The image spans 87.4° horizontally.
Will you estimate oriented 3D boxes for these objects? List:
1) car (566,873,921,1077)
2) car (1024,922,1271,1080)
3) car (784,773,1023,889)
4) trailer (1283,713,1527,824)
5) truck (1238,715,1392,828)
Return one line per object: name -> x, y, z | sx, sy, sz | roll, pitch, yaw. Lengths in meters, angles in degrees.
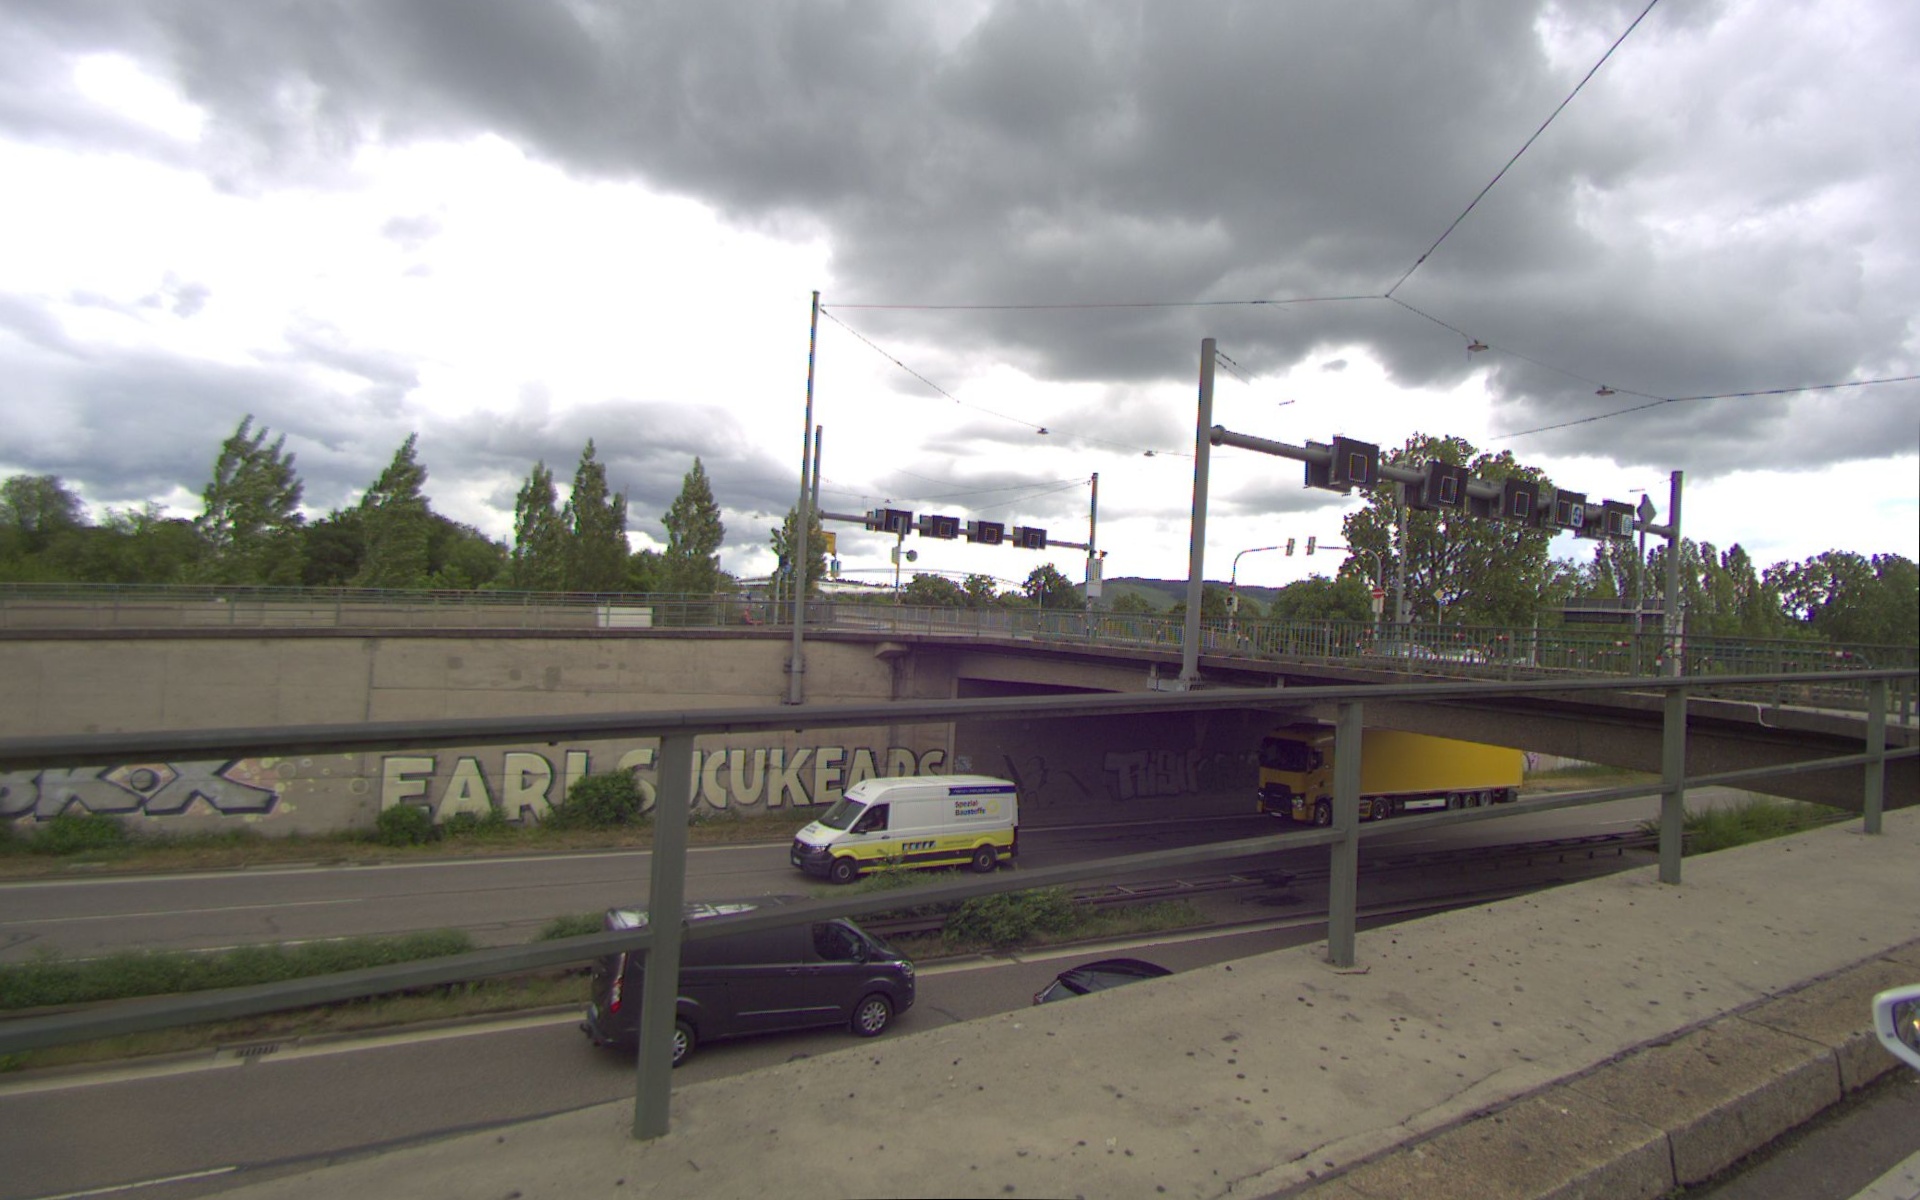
car -> -3.423, 5.846, 16.252 | 5.191, 2.040, 1.985 | 4, -2, -29
car -> 3.098, 6.420, 16.422 | 3.791, 1.492, 1.644 | 4, -2, -30
car -> -1.504, 6.469, 28.799 | 6.637, 2.661, 1.984 | 4, -5, -31
trailer -> 20.783, 7.567, 46.293 | 13.532, 4.317, 3.223 | 5, -3, -32
truck -> 15.126, 7.134, 42.704 | 5.739, 4.236, 3.224 | 4, -3, -31
